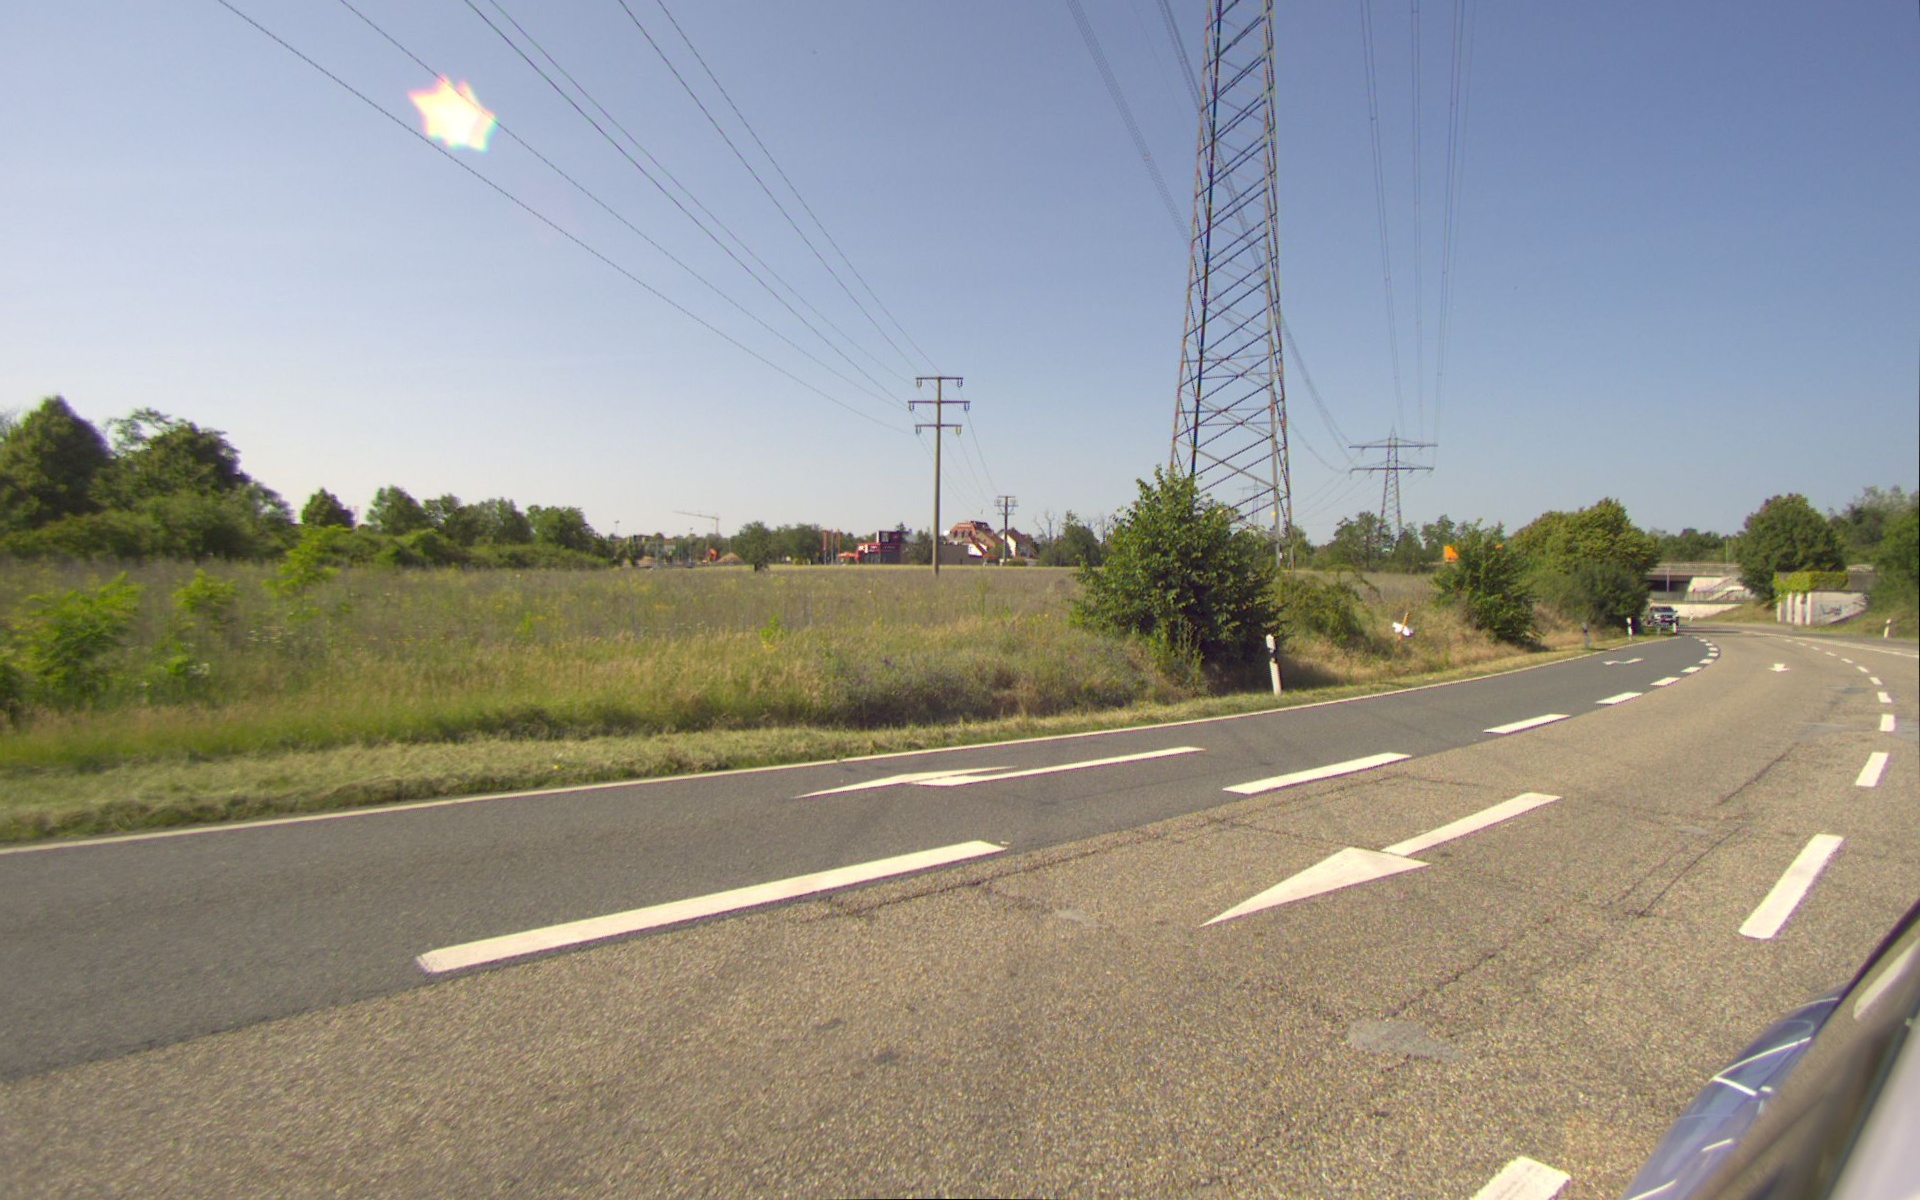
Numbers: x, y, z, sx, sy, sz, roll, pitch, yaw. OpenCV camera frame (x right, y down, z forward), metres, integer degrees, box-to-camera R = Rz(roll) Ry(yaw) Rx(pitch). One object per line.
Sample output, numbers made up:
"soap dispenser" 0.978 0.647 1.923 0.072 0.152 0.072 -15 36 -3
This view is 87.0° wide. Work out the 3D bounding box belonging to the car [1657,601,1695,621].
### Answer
"car" 60.428 0.910 85.486 1.840 1.640 3.619 1 0 23
